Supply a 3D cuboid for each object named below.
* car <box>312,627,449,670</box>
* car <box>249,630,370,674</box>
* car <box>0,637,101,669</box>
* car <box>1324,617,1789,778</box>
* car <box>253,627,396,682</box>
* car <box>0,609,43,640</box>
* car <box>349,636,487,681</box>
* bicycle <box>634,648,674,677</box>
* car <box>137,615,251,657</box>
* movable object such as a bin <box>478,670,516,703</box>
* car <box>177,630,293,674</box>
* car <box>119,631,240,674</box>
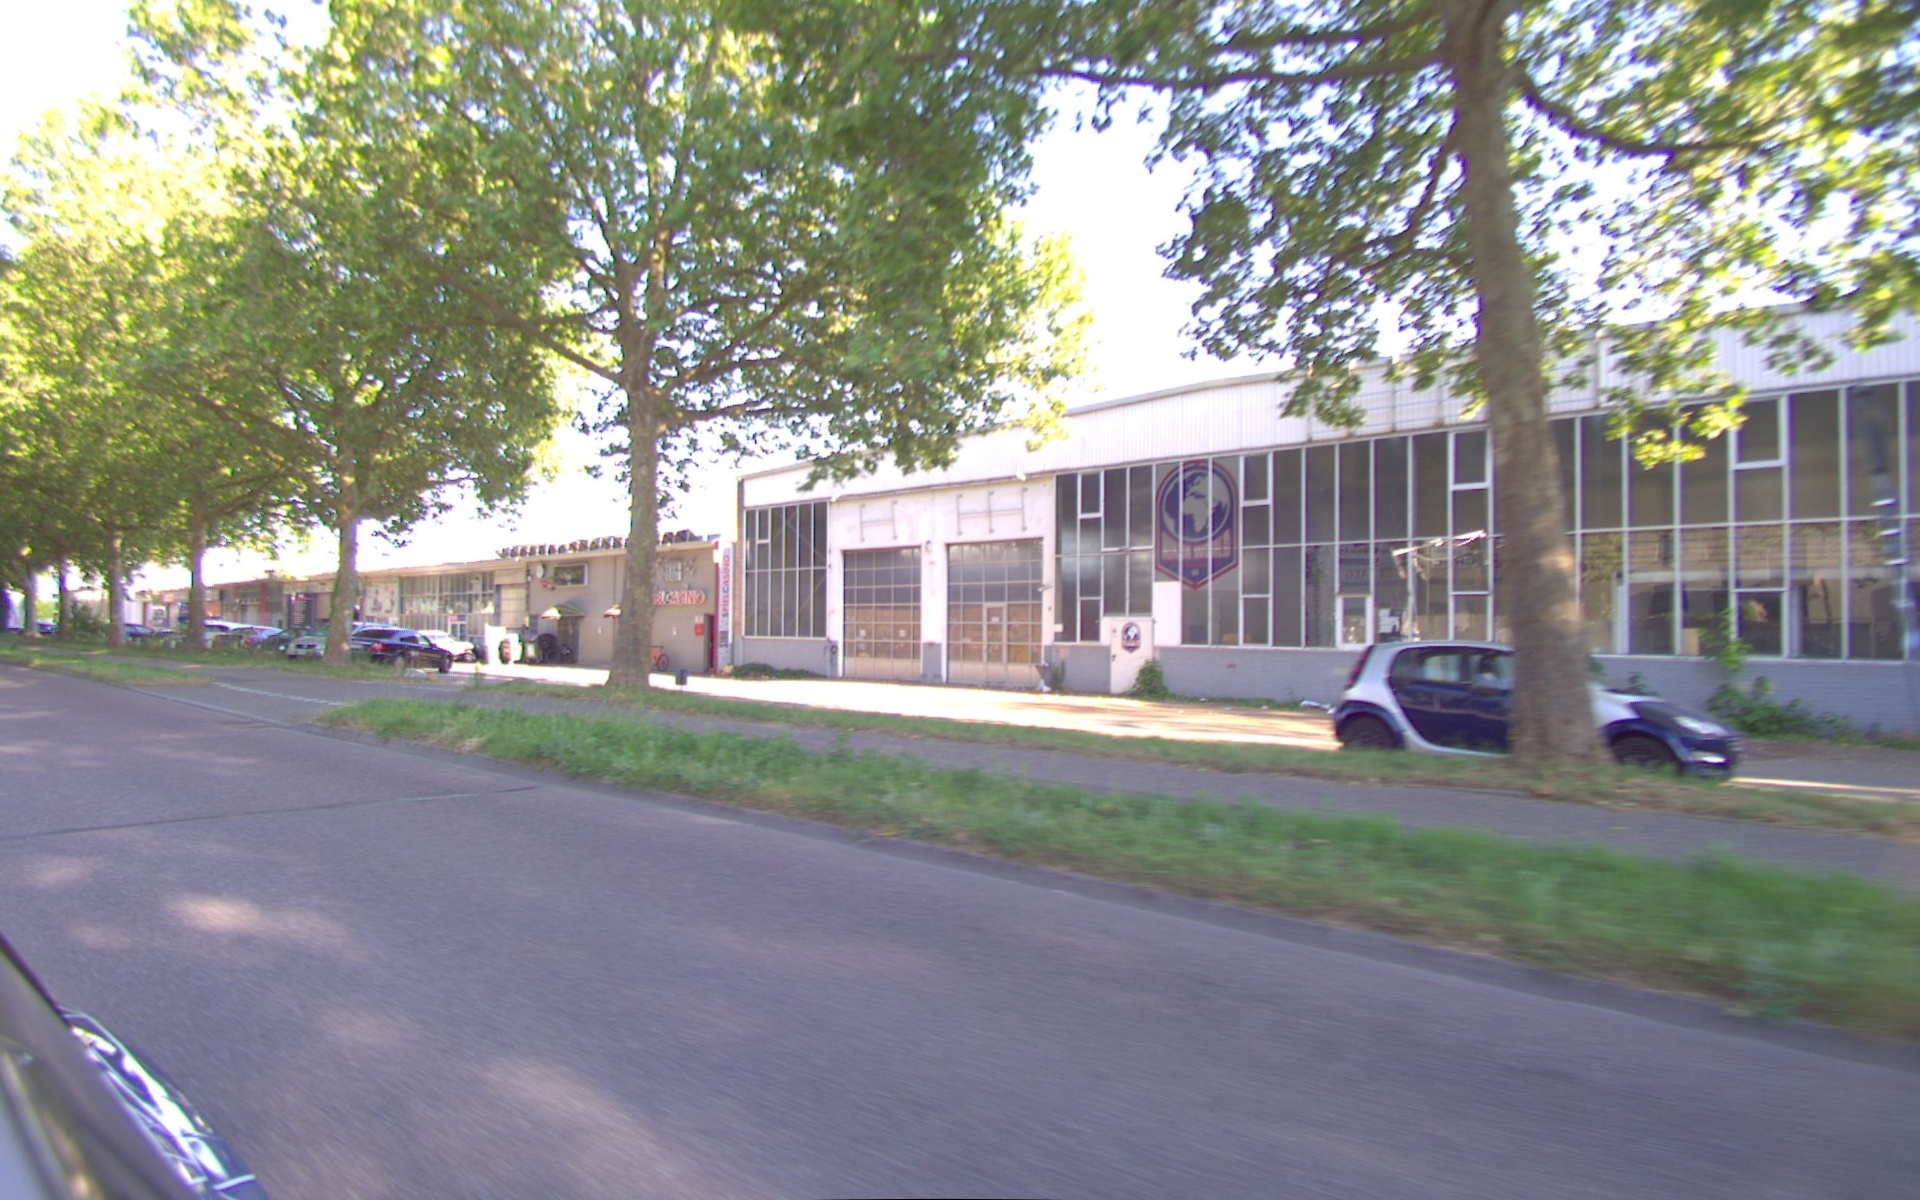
[{"bbox_3d":[-18.964,1.585,33.394,1.972,1.316,4.484,0,-3,-1],"label":"car"},{"bbox_3d":[-26.221,2.049,40.978,1.974,1.642,4.258,0,-1,4],"label":"car"},{"bbox_3d":[-56.728,3.267,62.880,1.983,1.773,4.872,-1,-1,17],"label":"car"},{"bbox_3d":[6.134,0.974,10.687,3.913,1.380,1.975,-1,-7,37],"label":"car"},{"bbox_3d":[-21.907,1.822,35.119,1.974,1.744,4.479,0,-1,3],"label":"car"},{"bbox_3d":[-97.292,2.356,101.989,2.575,2.875,6.931,0,-6,12],"label":"car"},{"bbox_3d":[-16.908,1.805,31.845,1.972,1.316,4.484,0,-3,-1],"label":"car"},{"bbox_3d":[-12.807,2.597,42.303,2.159,1.066,0.530,-1,4,42],"label":"bicycle"},{"bbox_3d":[-32.637,1.497,43.282,1.969,1.712,4.268,0,-1,-6],"label":"car"},{"bbox_3d":[-21.984,4.089,48.054,1.571,1.442,1.046,-1,-1,39],"label":"movable object such as a bin"},{"bbox_3d":[-29.133,2.049,40.844,1.969,1.642,4.269,0,-1,-7],"label":"car"},{"bbox_3d":[-34.367,2.258,44.692,1.977,1.763,3.989,0,-1,9],"label":"car"}]
